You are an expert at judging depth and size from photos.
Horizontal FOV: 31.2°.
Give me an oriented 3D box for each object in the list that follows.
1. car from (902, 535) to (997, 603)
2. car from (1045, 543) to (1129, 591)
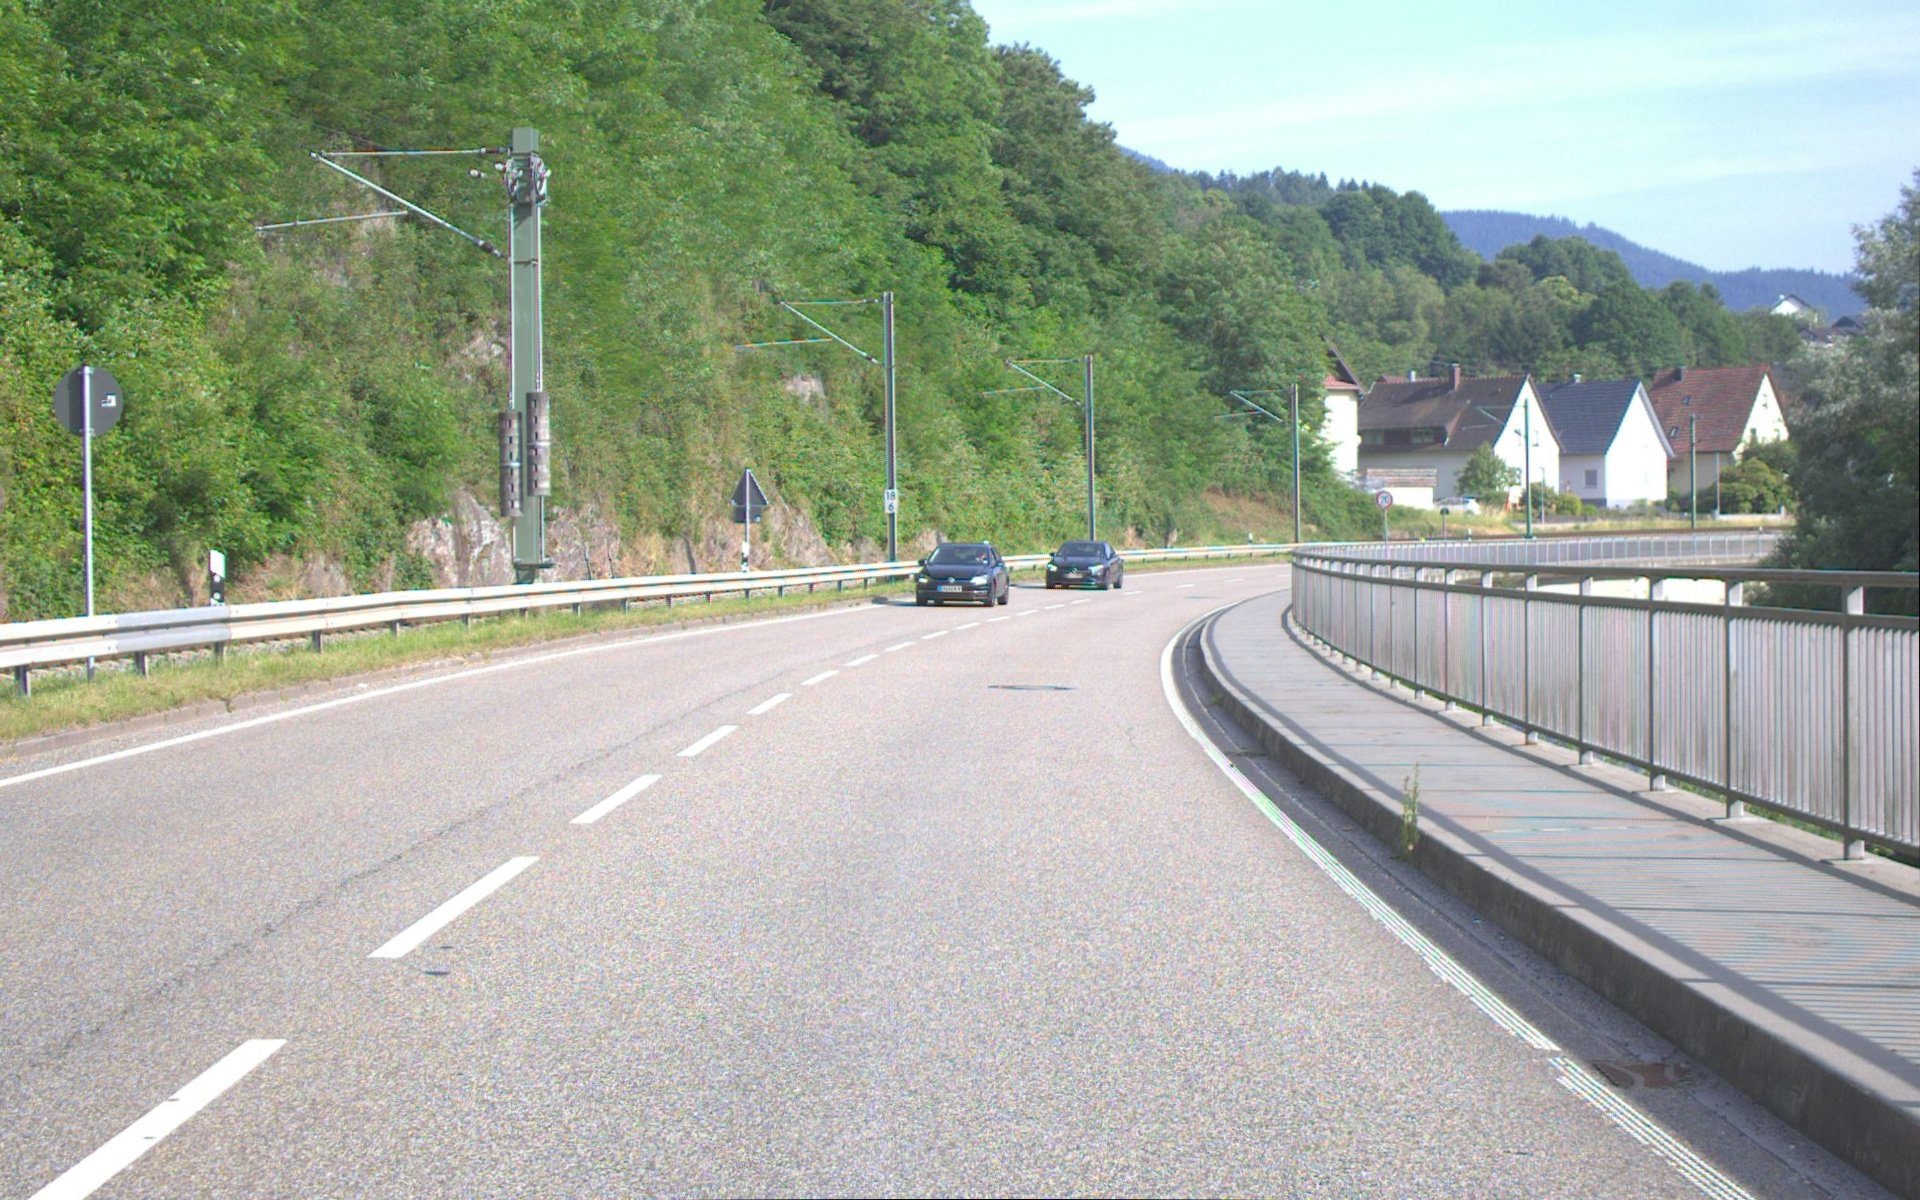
[{"bbox_3d":[-0.221,-0.724,79.010,1.847,1.435,3.897,-2,1,4],"label":"car"},{"bbox_3d":[3.765,-0.982,101.361,1.848,1.397,4.474,0,1,11],"label":"car"}]
